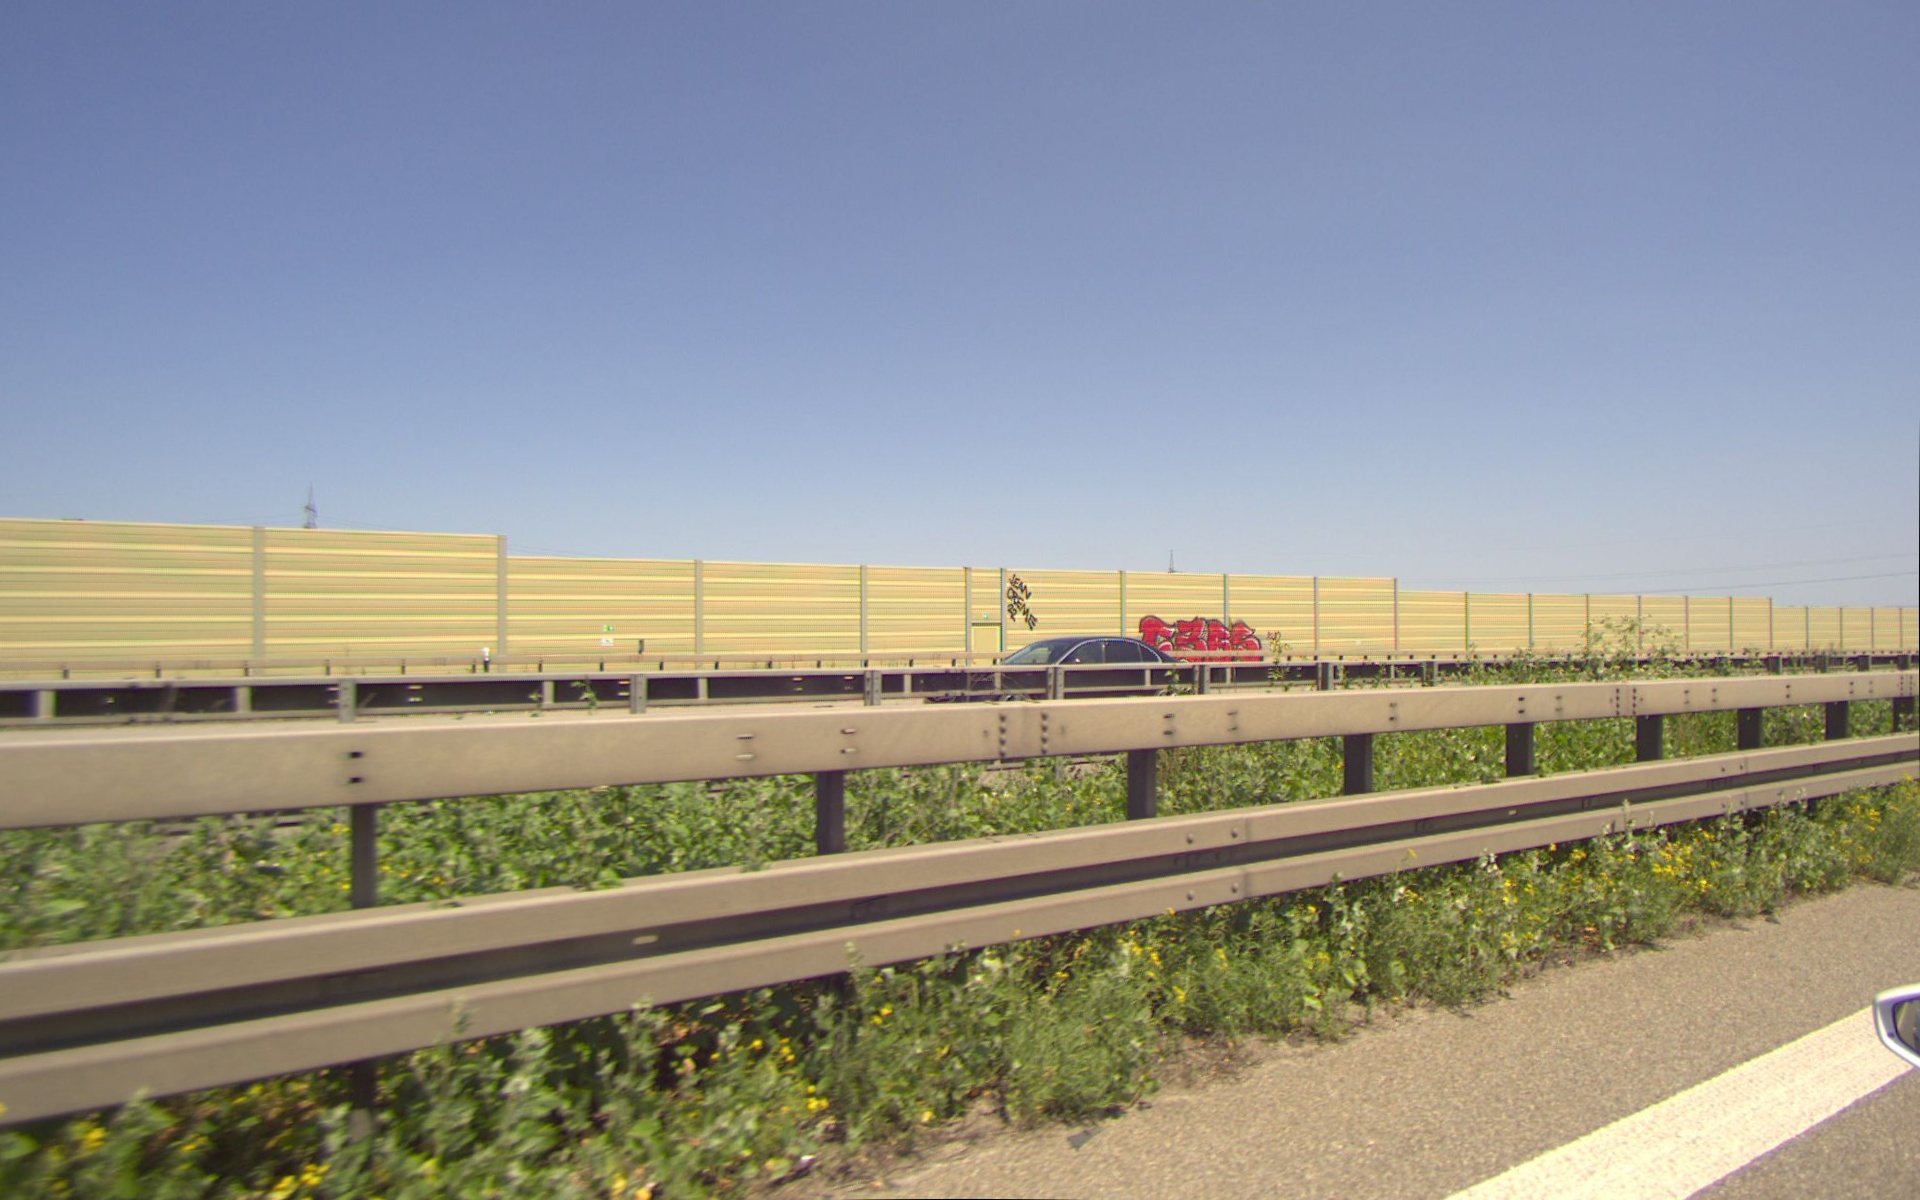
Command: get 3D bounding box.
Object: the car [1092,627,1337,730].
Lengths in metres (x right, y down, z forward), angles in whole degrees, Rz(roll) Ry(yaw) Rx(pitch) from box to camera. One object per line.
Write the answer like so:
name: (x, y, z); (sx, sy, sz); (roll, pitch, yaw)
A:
car: (4.481, 1.315, 17.609); (3.953, 1.606, 1.984); (2, -2, -30)
